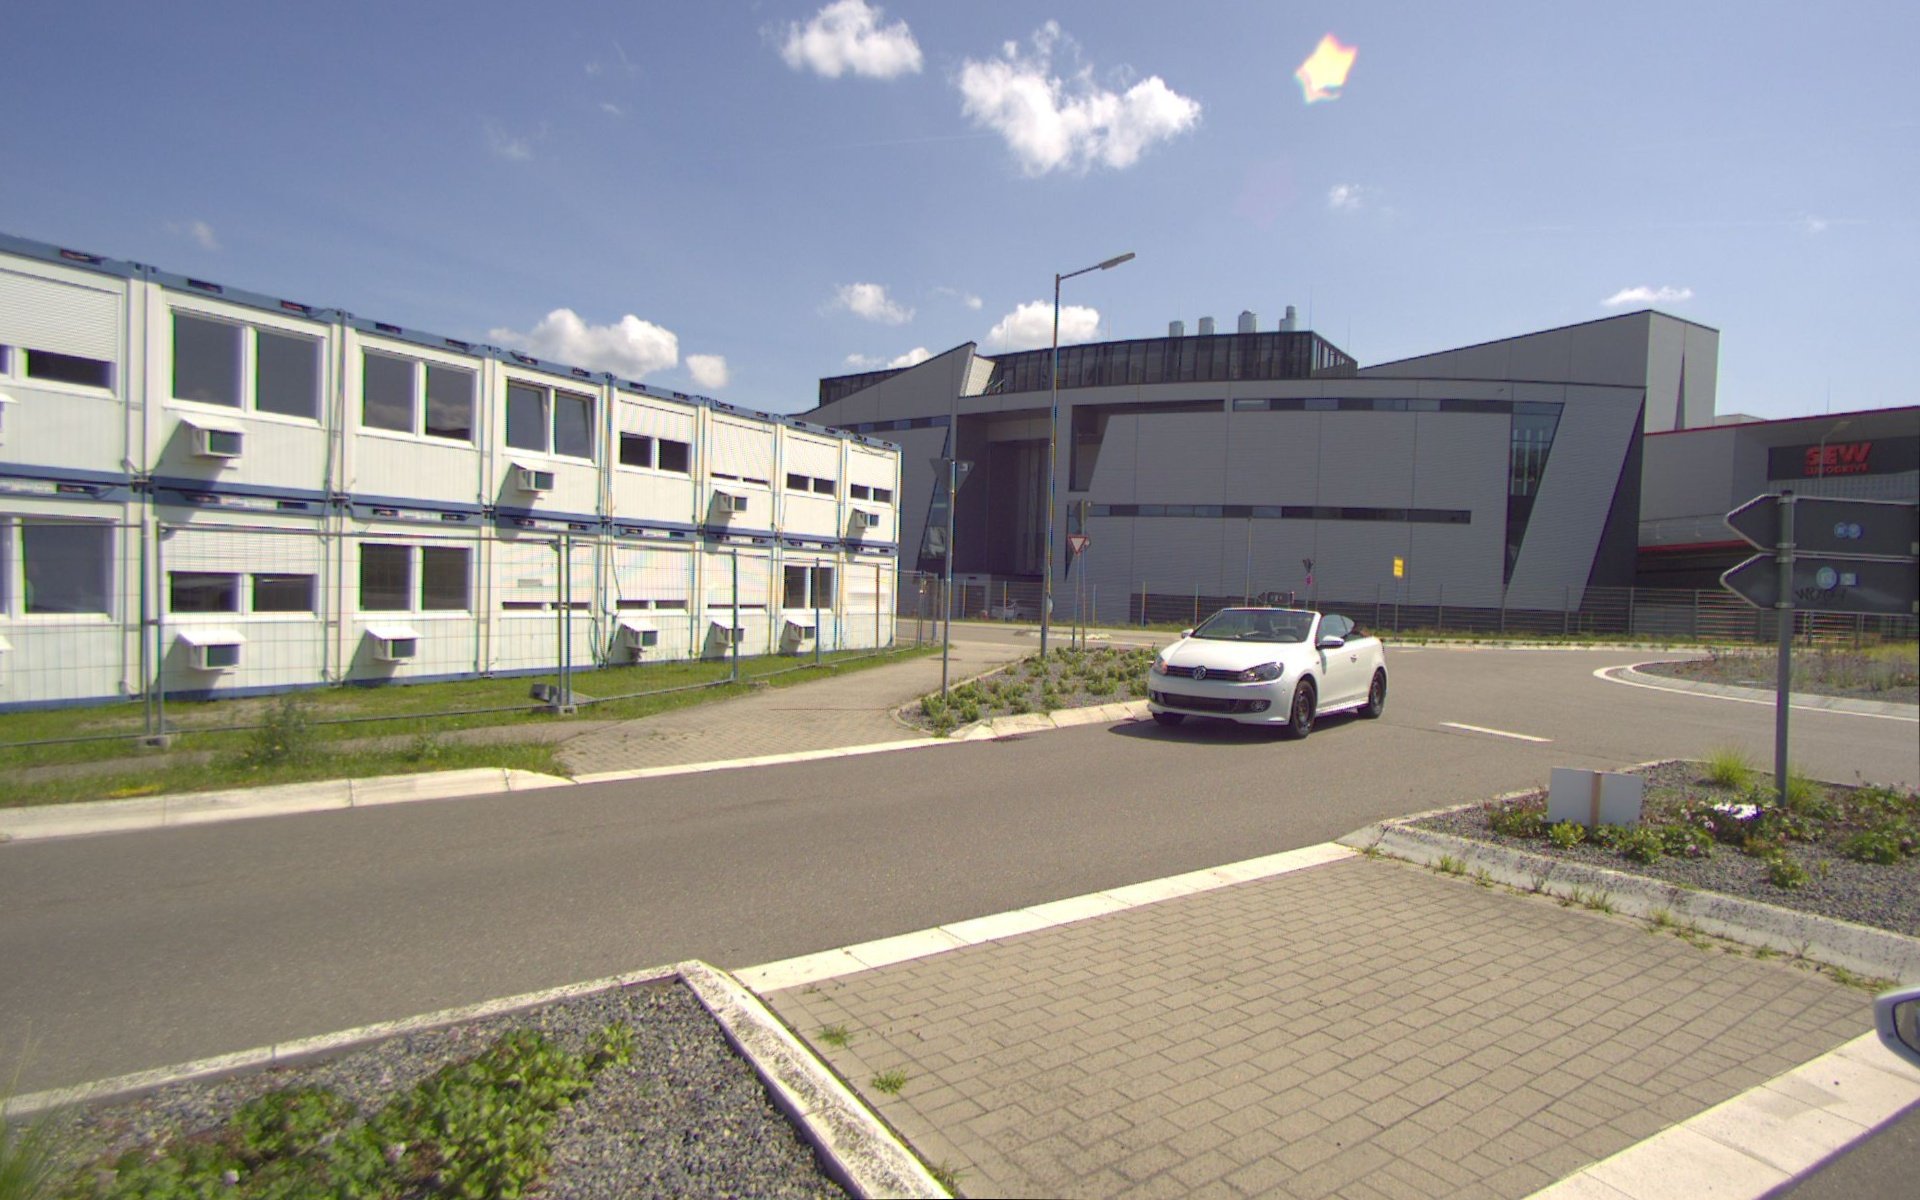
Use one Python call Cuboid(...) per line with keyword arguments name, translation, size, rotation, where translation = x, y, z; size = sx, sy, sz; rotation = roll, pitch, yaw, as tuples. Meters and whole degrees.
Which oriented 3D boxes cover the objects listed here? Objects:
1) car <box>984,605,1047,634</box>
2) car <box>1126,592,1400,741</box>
Cuboid(name="car", translation=(3.584, 1.205, 64.103), size=(1.967, 1.713, 4.300), rotation=(3, 2, 35))
Cuboid(name="car", translation=(3.785, 0.698, 12.080), size=(1.748, 1.447, 4.034), rotation=(2, 0, 39))
